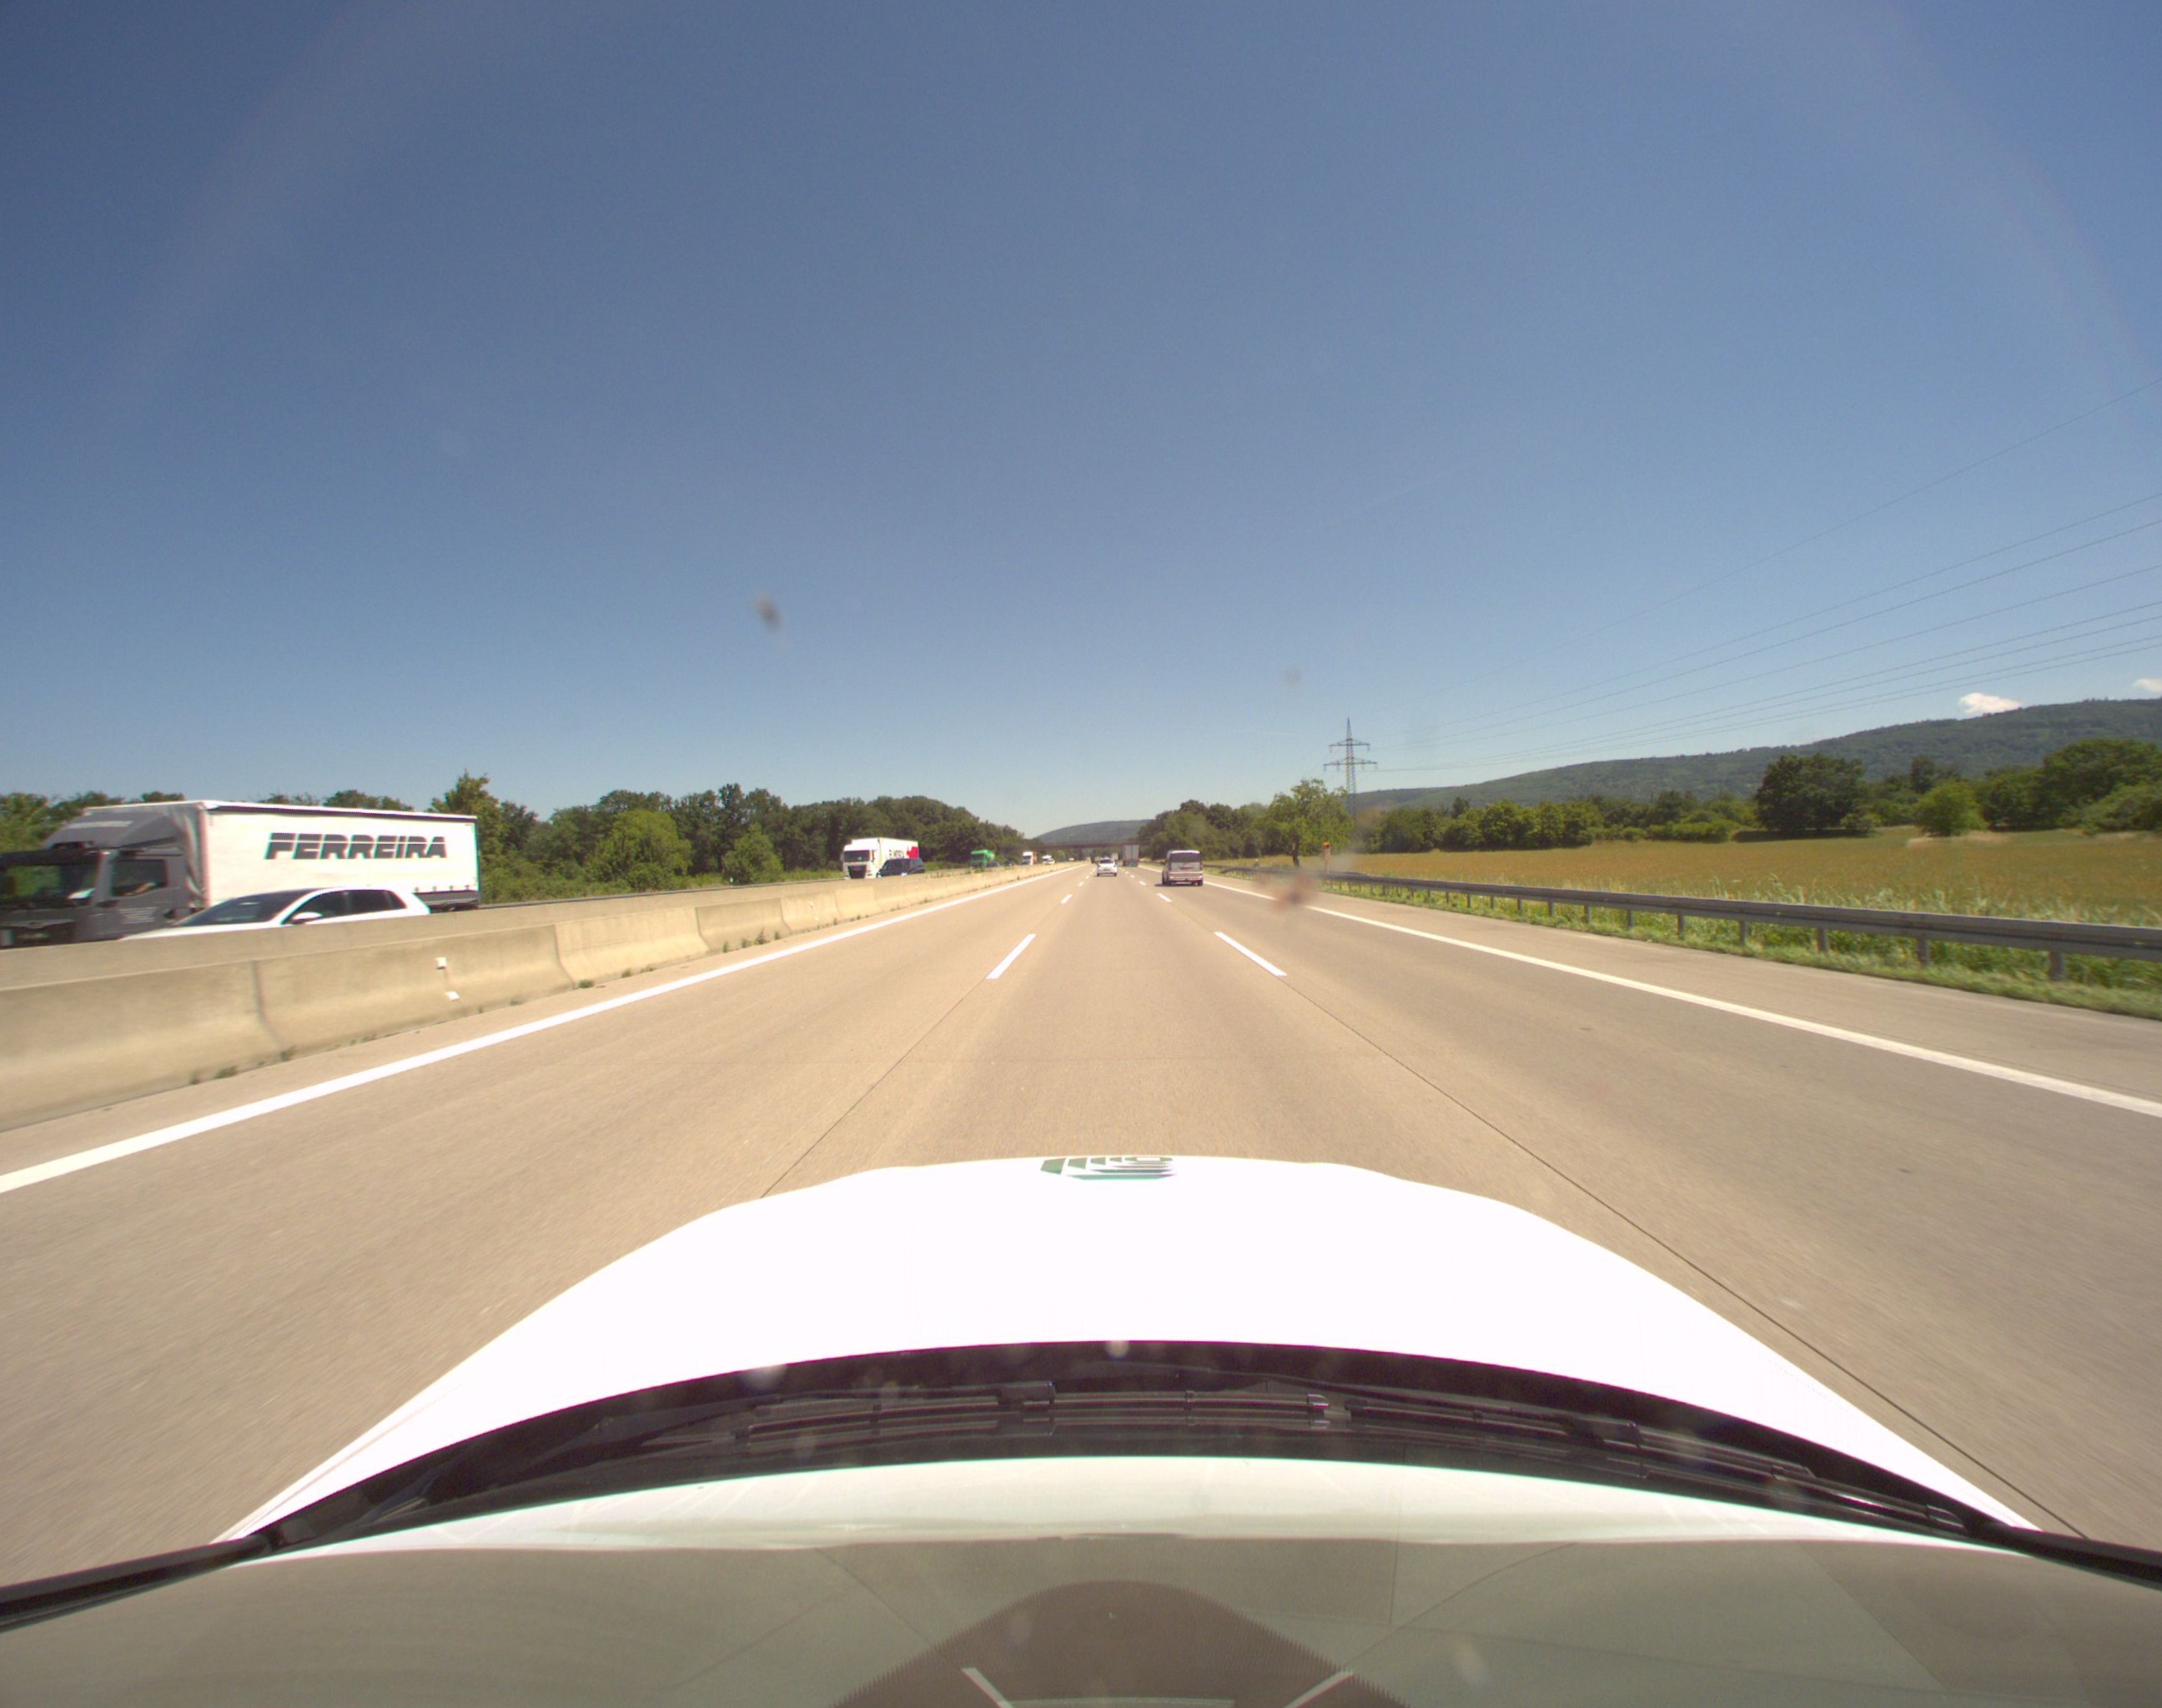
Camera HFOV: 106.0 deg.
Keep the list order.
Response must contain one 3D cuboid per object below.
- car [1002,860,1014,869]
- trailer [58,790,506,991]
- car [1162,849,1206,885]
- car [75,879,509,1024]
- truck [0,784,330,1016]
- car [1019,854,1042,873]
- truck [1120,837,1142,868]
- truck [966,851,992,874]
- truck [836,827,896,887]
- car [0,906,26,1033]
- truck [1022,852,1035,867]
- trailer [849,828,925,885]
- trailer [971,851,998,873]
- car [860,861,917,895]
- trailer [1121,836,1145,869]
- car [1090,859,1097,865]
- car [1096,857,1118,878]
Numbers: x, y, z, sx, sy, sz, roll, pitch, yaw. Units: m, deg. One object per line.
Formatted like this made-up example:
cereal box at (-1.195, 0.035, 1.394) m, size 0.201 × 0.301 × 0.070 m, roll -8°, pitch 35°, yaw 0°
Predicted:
car at (-15.417, 2.200, 171.884) m, size 1.922 × 1.794 × 4.001 m, roll 0°, pitch 0°, yaw 1°
trailer at (-19.449, 0.752, 21.001) m, size 2.942 × 4.105 × 8.488 m, roll 0°, pitch 0°, yaw 2°
car at (5.516, 0.693, 44.065) m, size 1.986 × 1.849 × 4.001 m, roll 0°, pitch 0°, yaw 1°
car at (-12.304, 1.377, 13.407) m, size 1.986 × 1.757 × 5.160 m, roll 0°, pitch 0°, yaw 2°
truck at (-19.609, 0.828, 17.057) m, size 2.942 × 4.127 × 5.088 m, roll 0°, pitch 0°, yaw 2°
car at (-5.012, 0.907, 81.686) m, size 1.987 × 1.849 × 4.000 m, roll 1°, pitch 0°, yaw 0°
truck at (9.517, -0.315, 156.370) m, size 3.709 × 5.811 × 7.053 m, roll 0°, pitch 0°, yaw 0°
truck at (-16.899, 1.363, 135.397) m, size 3.038 × 3.634 × 7.979 m, roll 0°, pitch 0°, yaw 1°
truck at (-17.916, 0.241, 68.304) m, size 3.070 × 4.762 × 6.501 m, roll 0°, pitch 0°, yaw 2°
car at (-16.228, 1.631, 9.347) m, size 1.986 × 1.757 × 4.717 m, roll 0°, pitch 0°, yaw 2°
truck at (-13.575, 1.329, 210.708) m, size 2.548 × 3.849 × 6.792 m, roll 0°, pitch 0°, yaw 1°
trailer at (-17.637, 0.239, 75.540) m, size 3.070 × 4.762 × 14.380 m, roll 0°, pitch 0°, yaw 2°
trailer at (-16.753, 1.331, 141.696) m, size 3.038 × 3.634 × 11.671 m, roll 0°, pitch 0°, yaw 1°
car at (-10.765, 1.298, 45.952) m, size 1.986 × 1.795 × 4.469 m, roll 0°, pitch 0°, yaw 2°
trailer at (9.479, -0.314, 150.198) m, size 3.709 × 5.811 × 12.161 m, roll 0°, pitch 0°, yaw 0°
car at (3.840, 2.341, 247.069) m, size 1.922 × 1.794 × 4.001 m, roll 0°, pitch 0°, yaw 1°
car at (2.230, 1.136, 70.042) m, size 1.813 × 1.661 × 4.001 m, roll -1°, pitch 0°, yaw 1°
